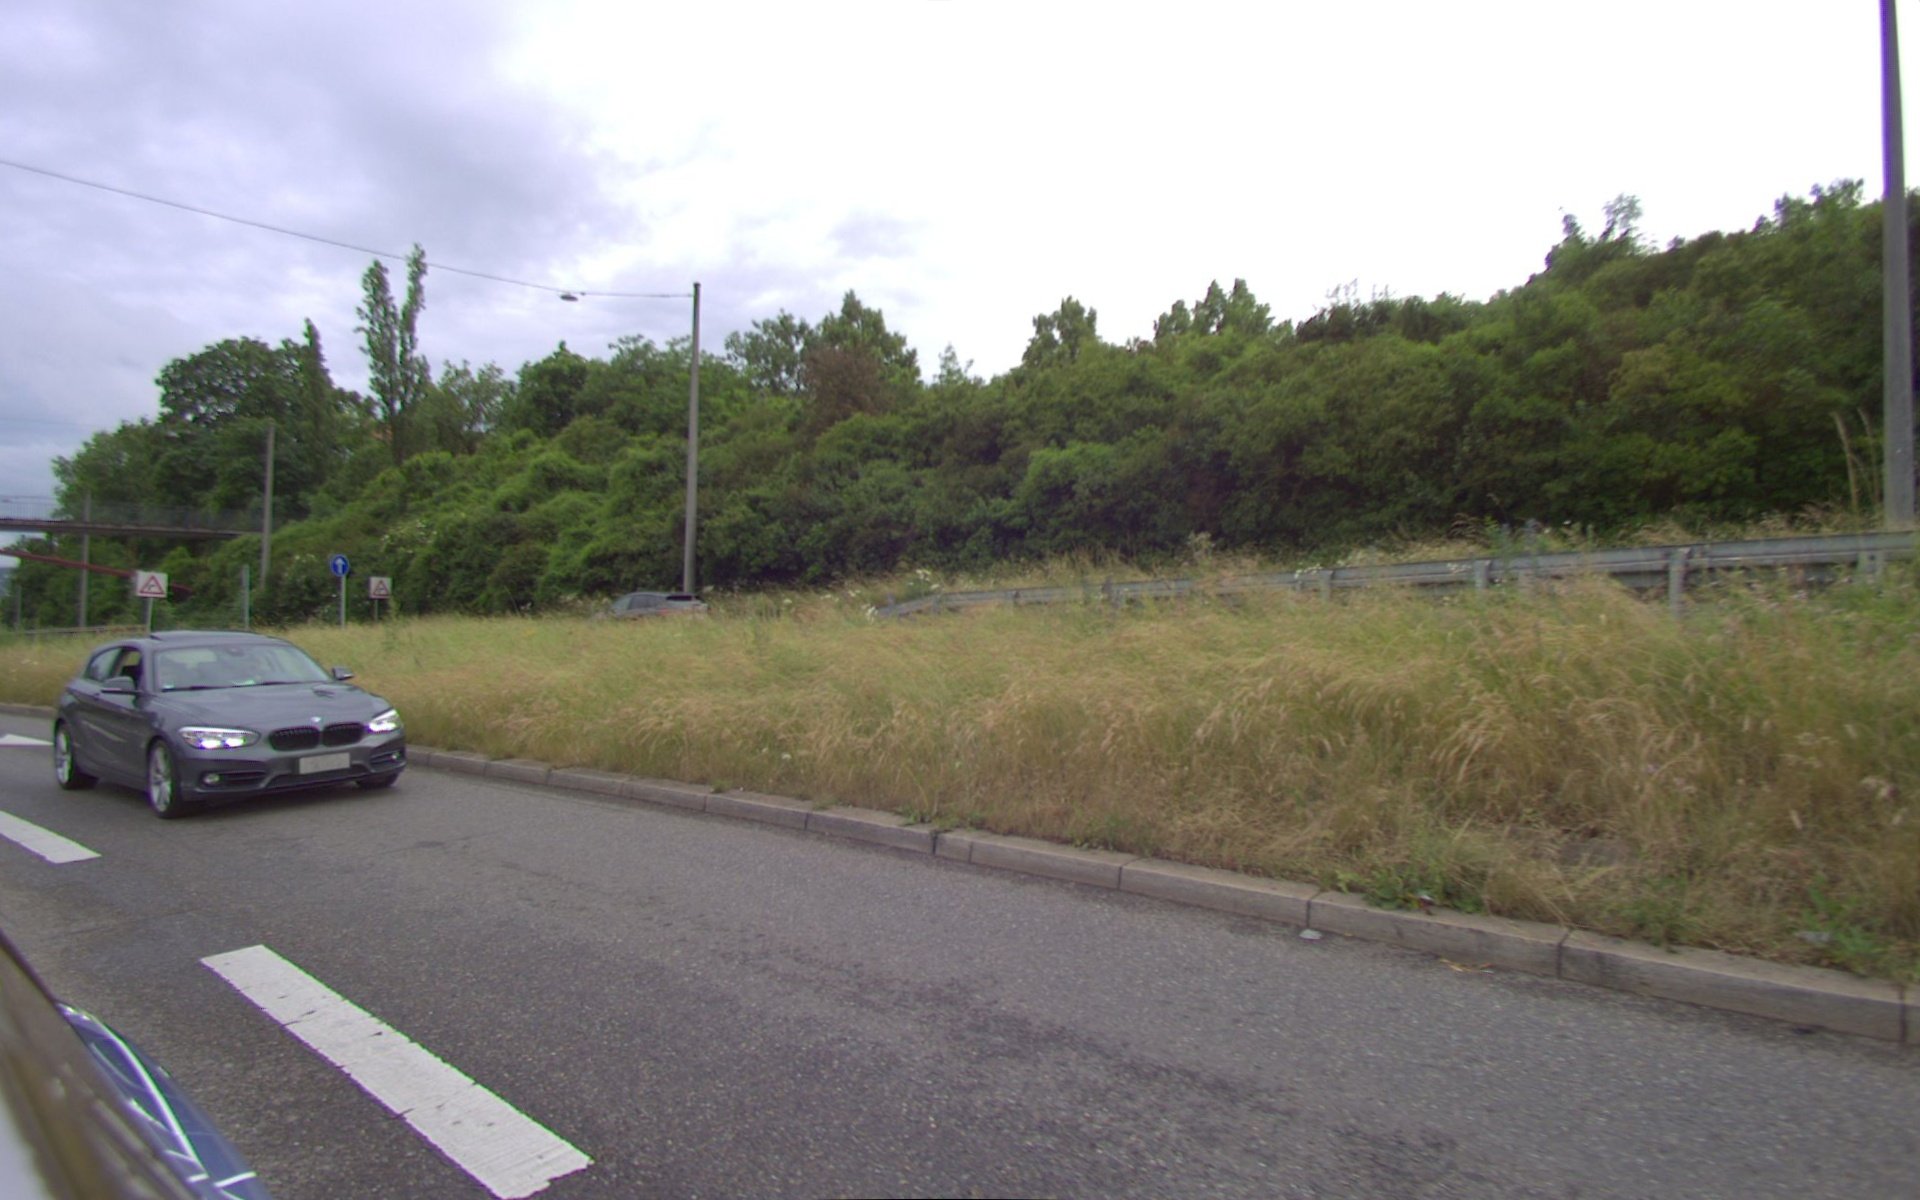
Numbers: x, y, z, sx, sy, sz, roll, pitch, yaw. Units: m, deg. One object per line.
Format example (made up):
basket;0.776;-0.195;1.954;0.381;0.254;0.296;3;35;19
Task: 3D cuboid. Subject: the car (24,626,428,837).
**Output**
car;-6.742;0.995;9.174;4.103;1.471;1.688;-1;-1;34

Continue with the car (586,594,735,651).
car;-8.305;0.589;27.894;4.284;1.464;1.973;-1;0;41
